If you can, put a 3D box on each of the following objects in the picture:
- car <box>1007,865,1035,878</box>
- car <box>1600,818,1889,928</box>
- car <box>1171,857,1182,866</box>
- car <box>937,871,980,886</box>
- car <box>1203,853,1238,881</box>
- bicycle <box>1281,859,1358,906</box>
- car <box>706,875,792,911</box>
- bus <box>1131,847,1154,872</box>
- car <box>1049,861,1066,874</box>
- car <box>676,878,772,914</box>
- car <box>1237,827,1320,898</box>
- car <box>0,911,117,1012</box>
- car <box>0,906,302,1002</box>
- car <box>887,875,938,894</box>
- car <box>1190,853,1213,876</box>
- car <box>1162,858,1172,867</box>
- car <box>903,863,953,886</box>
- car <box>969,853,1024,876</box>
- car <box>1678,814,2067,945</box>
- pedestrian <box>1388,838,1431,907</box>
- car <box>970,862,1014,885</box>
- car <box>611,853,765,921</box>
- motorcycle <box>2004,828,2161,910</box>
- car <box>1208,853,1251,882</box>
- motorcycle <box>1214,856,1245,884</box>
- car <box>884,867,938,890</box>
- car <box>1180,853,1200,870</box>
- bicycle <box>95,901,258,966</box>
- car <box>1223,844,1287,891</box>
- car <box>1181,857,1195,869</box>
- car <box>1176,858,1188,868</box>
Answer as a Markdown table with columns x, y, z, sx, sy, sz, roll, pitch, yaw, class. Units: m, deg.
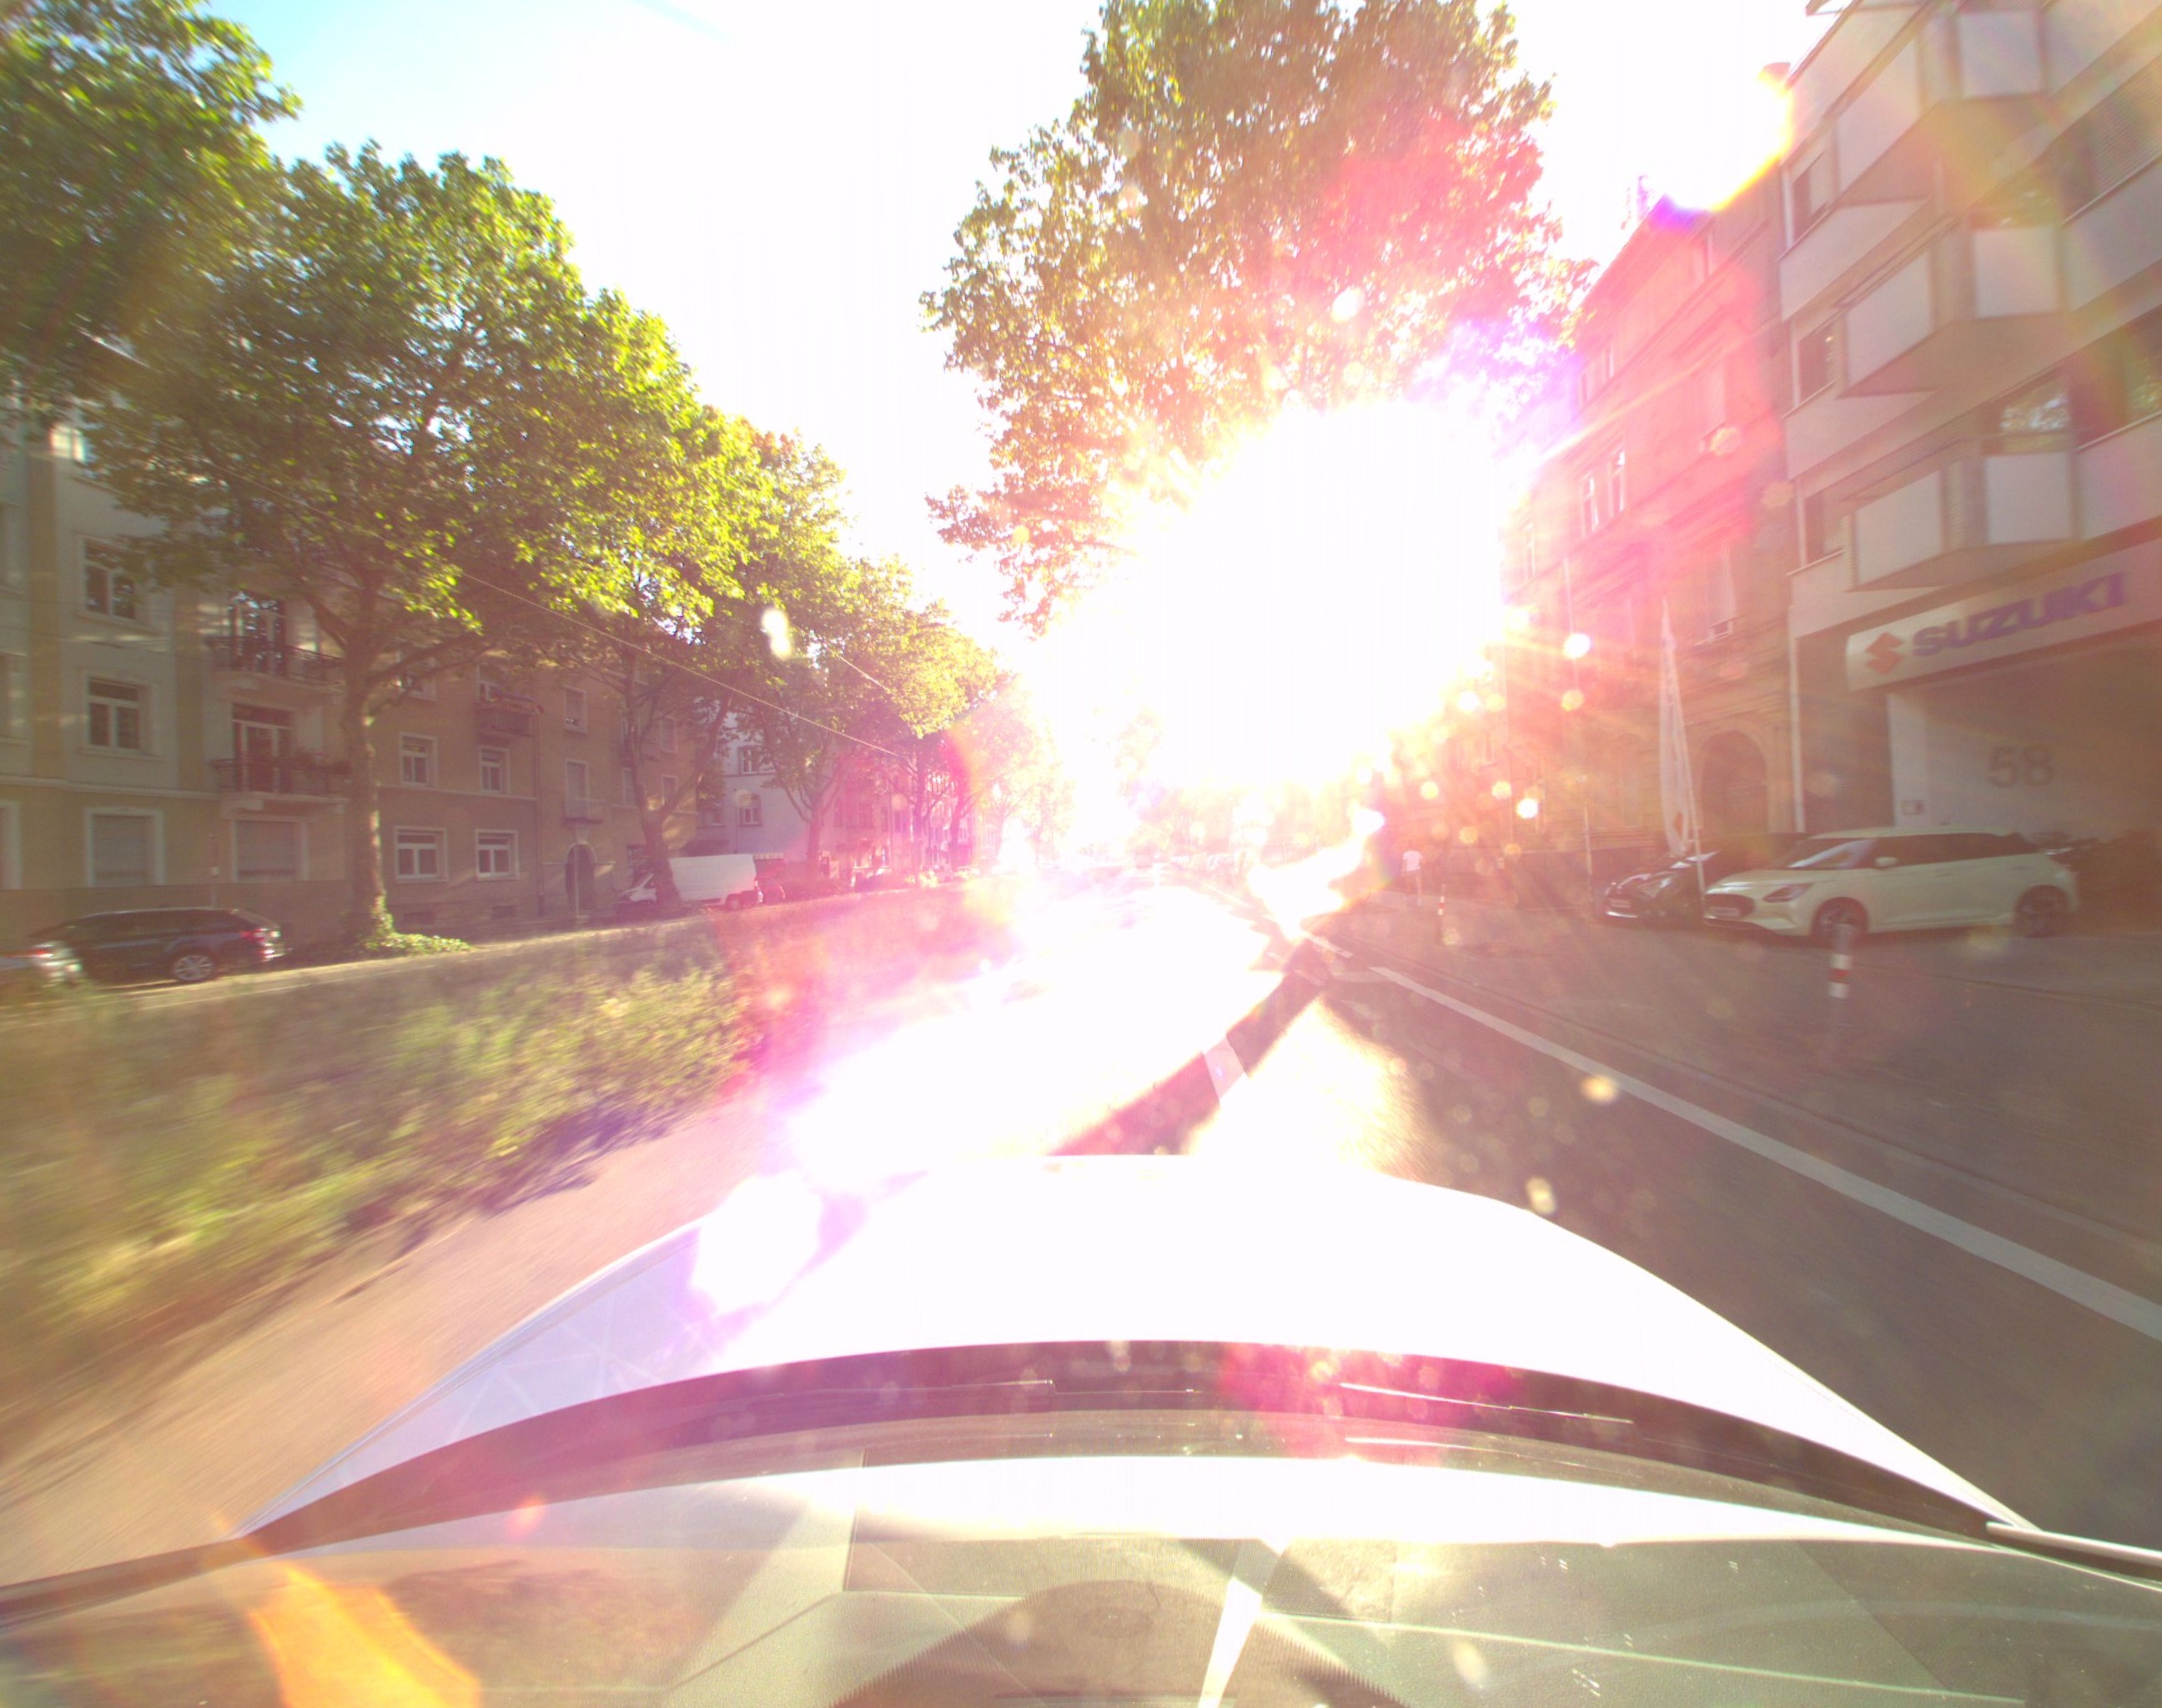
| x | y | z | sx | sy | sz | roll | pitch | yaw | class |
| --- | --- | --- | --- | --- | --- | --- | --- | --- | --- |
| -6.829 | 1.980 | 93.024 | 1.733 | 1.460 | 4.942 | -3 | -1 | 13 | car |
| 10.585 | 0.307 | 13.170 | 3.405 | 1.546 | 1.443 | -2 | -1 | 1 | car |
| 17.871 | 1.443 | 152.134 | 1.772 | 1.516 | 4.005 | -3 | 0 | 5 | car |
| -12.433 | 2.464 | 82.540 | 4.009 | 1.356 | 1.572 | -2 | -1 | -27 | car |
| 9.071 | 0.827 | 53.203 | 1.737 | 1.690 | 3.855 | -2 | -1 | 4 | car |
| 6.115 | 0.732 | 20.931 | 1.836 | 1.143 | 0.348 | -2 | -2 | 4 | bicycle |
| -16.452 | 1.921 | 40.377 | 3.719 | 1.466 | 1.721 | -4 | 0 | -28 | car |
| 8.710 | 0.811 | 115.379 | 2.822 | 3.236 | 8.186 | -2 | -1 | 2 | bus |
| -3.106 | 1.725 | 107.449 | 1.781 | 1.574 | 4.006 | -3 | -1 | 5 | car |
| -16.420 | 1.917 | 37.536 | 3.727 | 1.399 | 1.716 | -2 | -1 | -38 | car |
| 7.079 | 0.333 | 29.805 | 1.985 | 2.257 | 5.240 | -2 | -1 | 4 | car |
| -18.549 | 1.806 | 12.727 | 4.197 | 1.491 | 1.702 | -2 | -1 | -38 | car |
| -18.158 | 1.875 | 16.124 | 3.746 | 1.422 | 1.702 | -2 | -1 | -38 | car |
| -14.437 | 2.594 | 69.918 | 4.016 | 1.448 | 1.569 | -2 | -2 | -34 | car |
| 10.331 | 0.911 | 70.118 | 1.735 | 1.770 | 4.402 | -3 | -1 | 7 | car |
| 16.762 | 1.635 | 158.577 | 1.772 | 1.516 | 4.005 | -3 | 0 | 5 | car |
| -13.840 | 1.874 | 73.669 | 4.016 | 1.882 | 1.978 | -2 | -2 | -35 | car |
| -11.132 | 1.404 | 107.099 | 6.953 | 2.678 | 2.173 | -2 | -1 | -17 | car |
| 10.555 | 0.348 | 11.120 | 3.400 | 1.519 | 1.760 | -3 | -1 | 6 | car |
| 8.017 | 0.448 | 19.934 | 0.660 | 1.629 | 0.924 | -2 | -1 | 4 | pedestrian |
| -6.808 | 1.479 | 62.919 | 1.857 | 1.694 | 4.792 | -3 | -1 | 12 | car |
| -16.653 | 1.315 | 34.656 | 5.535 | 2.529 | 2.102 | -2 | -1 | -38 | car |
| 15.313 | 0.215 | 12.234 | 1.921 | 1.122 | 0.740 | -3 | -1 | 3 | motorcycle |
| 8.656 | 0.801 | 47.673 | 1.985 | 1.560 | 3.983 | -2 | -1 | 3 | car |
| 7.910 | 0.824 | 43.473 | 0.823 | 1.398 | 2.373 | -4 | 0 | -8 | motorcycle |
| -14.089 | 2.023 | 67.551 | 4.016 | 1.723 | 1.765 | -2 | -2 | -34 | car |
| 11.944 | 0.837 | 89.291 | 1.737 | 1.770 | 4.993 | -2 | -1 | 4 | car |
| -23.556 | 2.020 | 21.331 | 0.738 | 1.391 | 2.965 | -2 | 0 | 5 | bicycle |
| 7.412 | 0.580 | 35.188 | 1.985 | 1.830 | 4.761 | -2 | -1 | 4 | car |
| 14.737 | 1.200 | 112.324 | 1.772 | 1.516 | 4.005 | -3 | 0 | 5 | car |
| 16.074 | 1.395 | 129.800 | 1.772 | 1.516 | 4.005 | -3 | 0 | 5 | car |
